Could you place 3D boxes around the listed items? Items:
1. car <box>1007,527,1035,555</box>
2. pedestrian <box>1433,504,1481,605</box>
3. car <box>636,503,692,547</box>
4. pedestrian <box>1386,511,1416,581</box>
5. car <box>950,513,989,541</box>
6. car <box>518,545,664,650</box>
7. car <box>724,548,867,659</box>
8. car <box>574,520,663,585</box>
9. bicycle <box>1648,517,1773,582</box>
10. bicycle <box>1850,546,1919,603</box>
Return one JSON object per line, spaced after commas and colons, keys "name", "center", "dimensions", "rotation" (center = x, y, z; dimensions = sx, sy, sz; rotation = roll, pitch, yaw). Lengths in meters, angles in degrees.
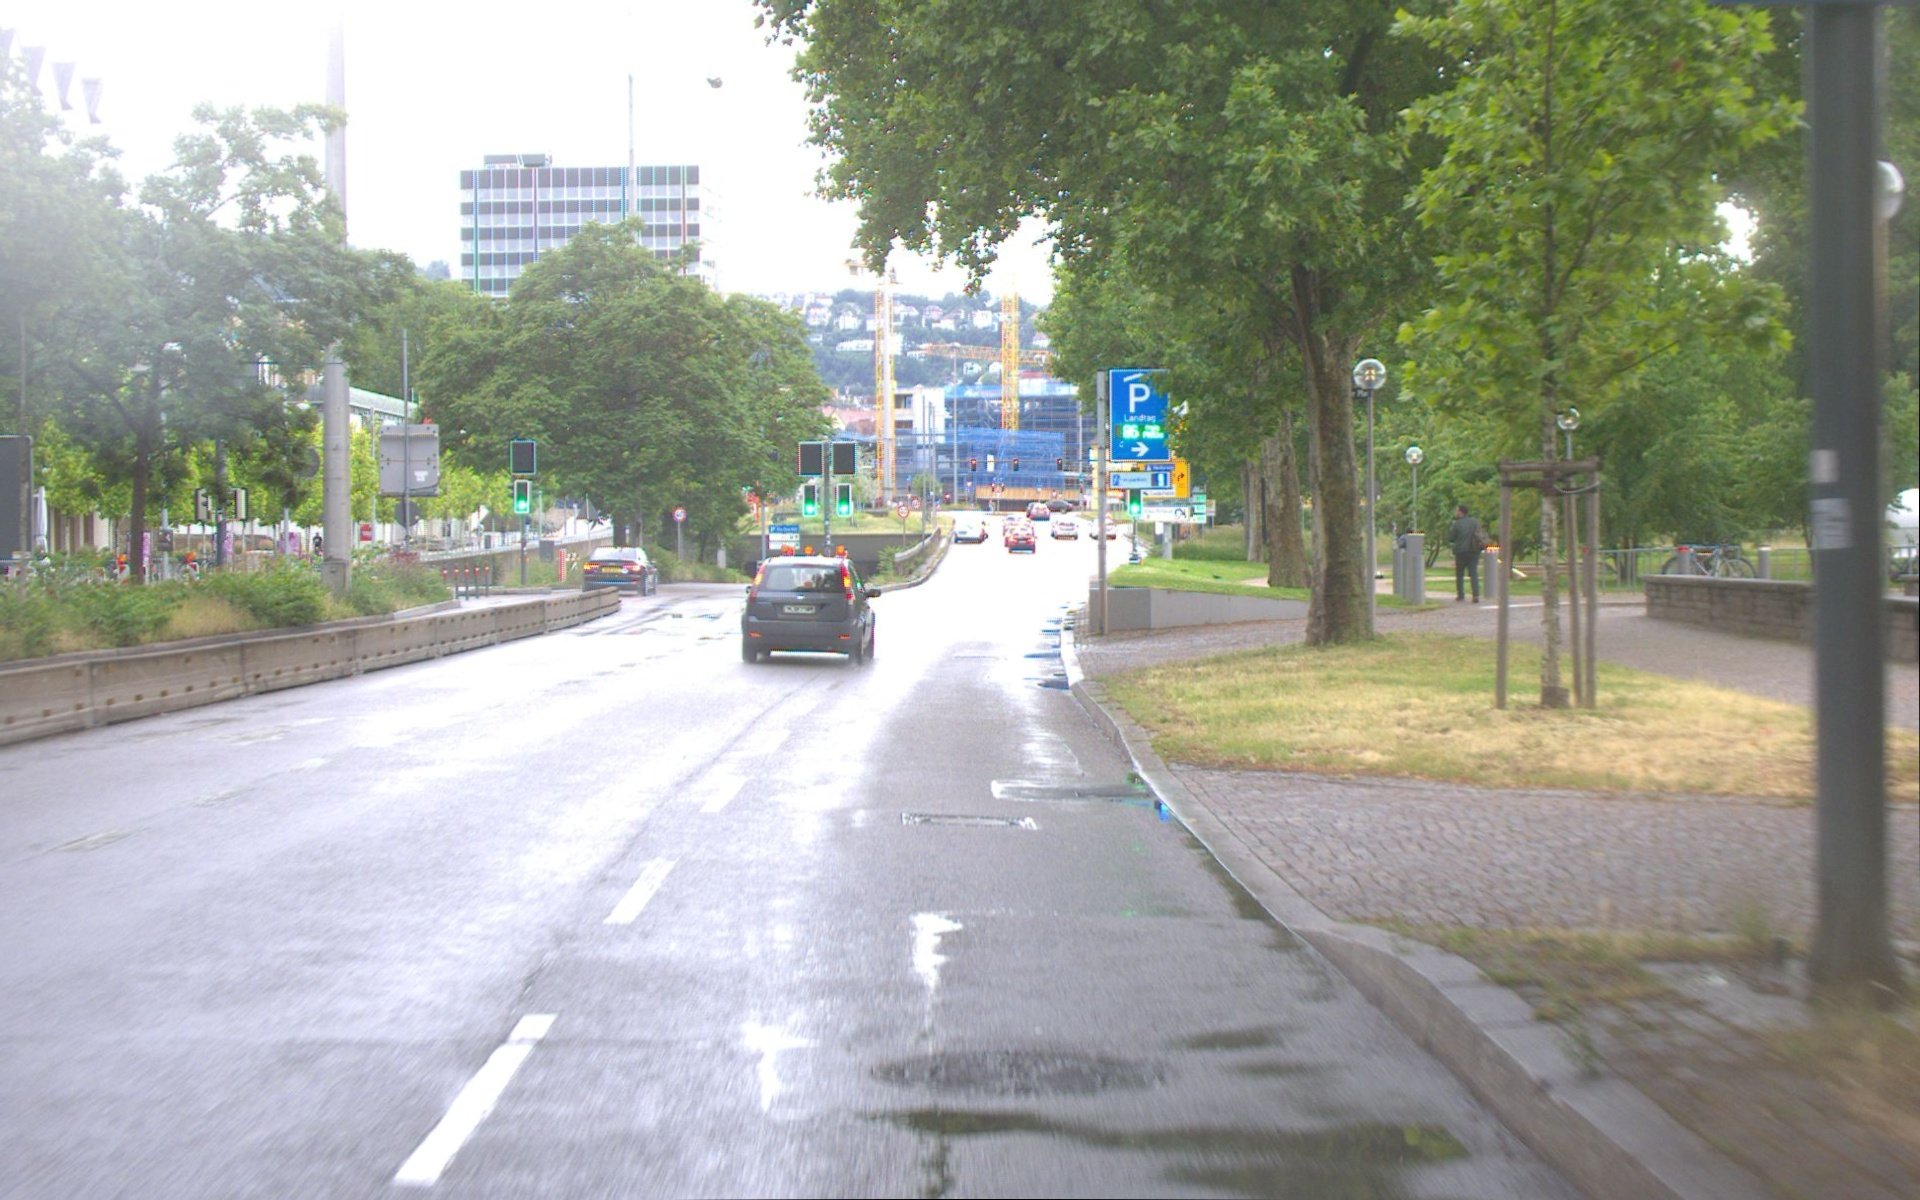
{"name": "car", "center": [3.983, -3.870, 225.998], "dimensions": [1.739, 1.765, 4.000], "rotation": [-2, 0, 1]}
{"name": "pedestrian", "center": [8.651, -0.797, 59.892], "dimensions": [0.705, 1.712, 0.692], "rotation": [-2, 1, 1]}
{"name": "car", "center": [-11.000, -2.781, 127.933], "dimensions": [1.993, 1.626, 4.001], "rotation": [0, 1, -4]}
{"name": "pedestrian", "center": [11.143, -1.368, 86.878], "dimensions": [0.594, 1.749, 0.725], "rotation": [-2, 2, -1]}
{"name": "car", "center": [0.714, -5.334, 250.981], "dimensions": [2.220, 2.007, 3.999], "rotation": [0, 1, 9]}
{"name": "car", "center": [-5.430, -0.072, 50.944], "dimensions": [1.754, 1.446, 4.000], "rotation": [1, 1, -1]}
{"name": "car", "center": [-2.299, 0.042, 47.282], "dimensions": [1.843, 1.411, 3.840], "rotation": [-2, 0, -4]}
{"name": "car", "center": [-9.639, -1.364, 97.332], "dimensions": [1.993, 1.774, 4.000], "rotation": [-1, 1, 2]}
{"name": "bicycle", "center": [13.794, -0.931, 63.247], "dimensions": [2.034, 1.169, 0.960], "rotation": [-1, 2, -9]}
{"name": "bicycle", "center": [18.204, -0.498, 66.754], "dimensions": [1.641, 1.082, 0.709], "rotation": [-1, 2, -4]}
